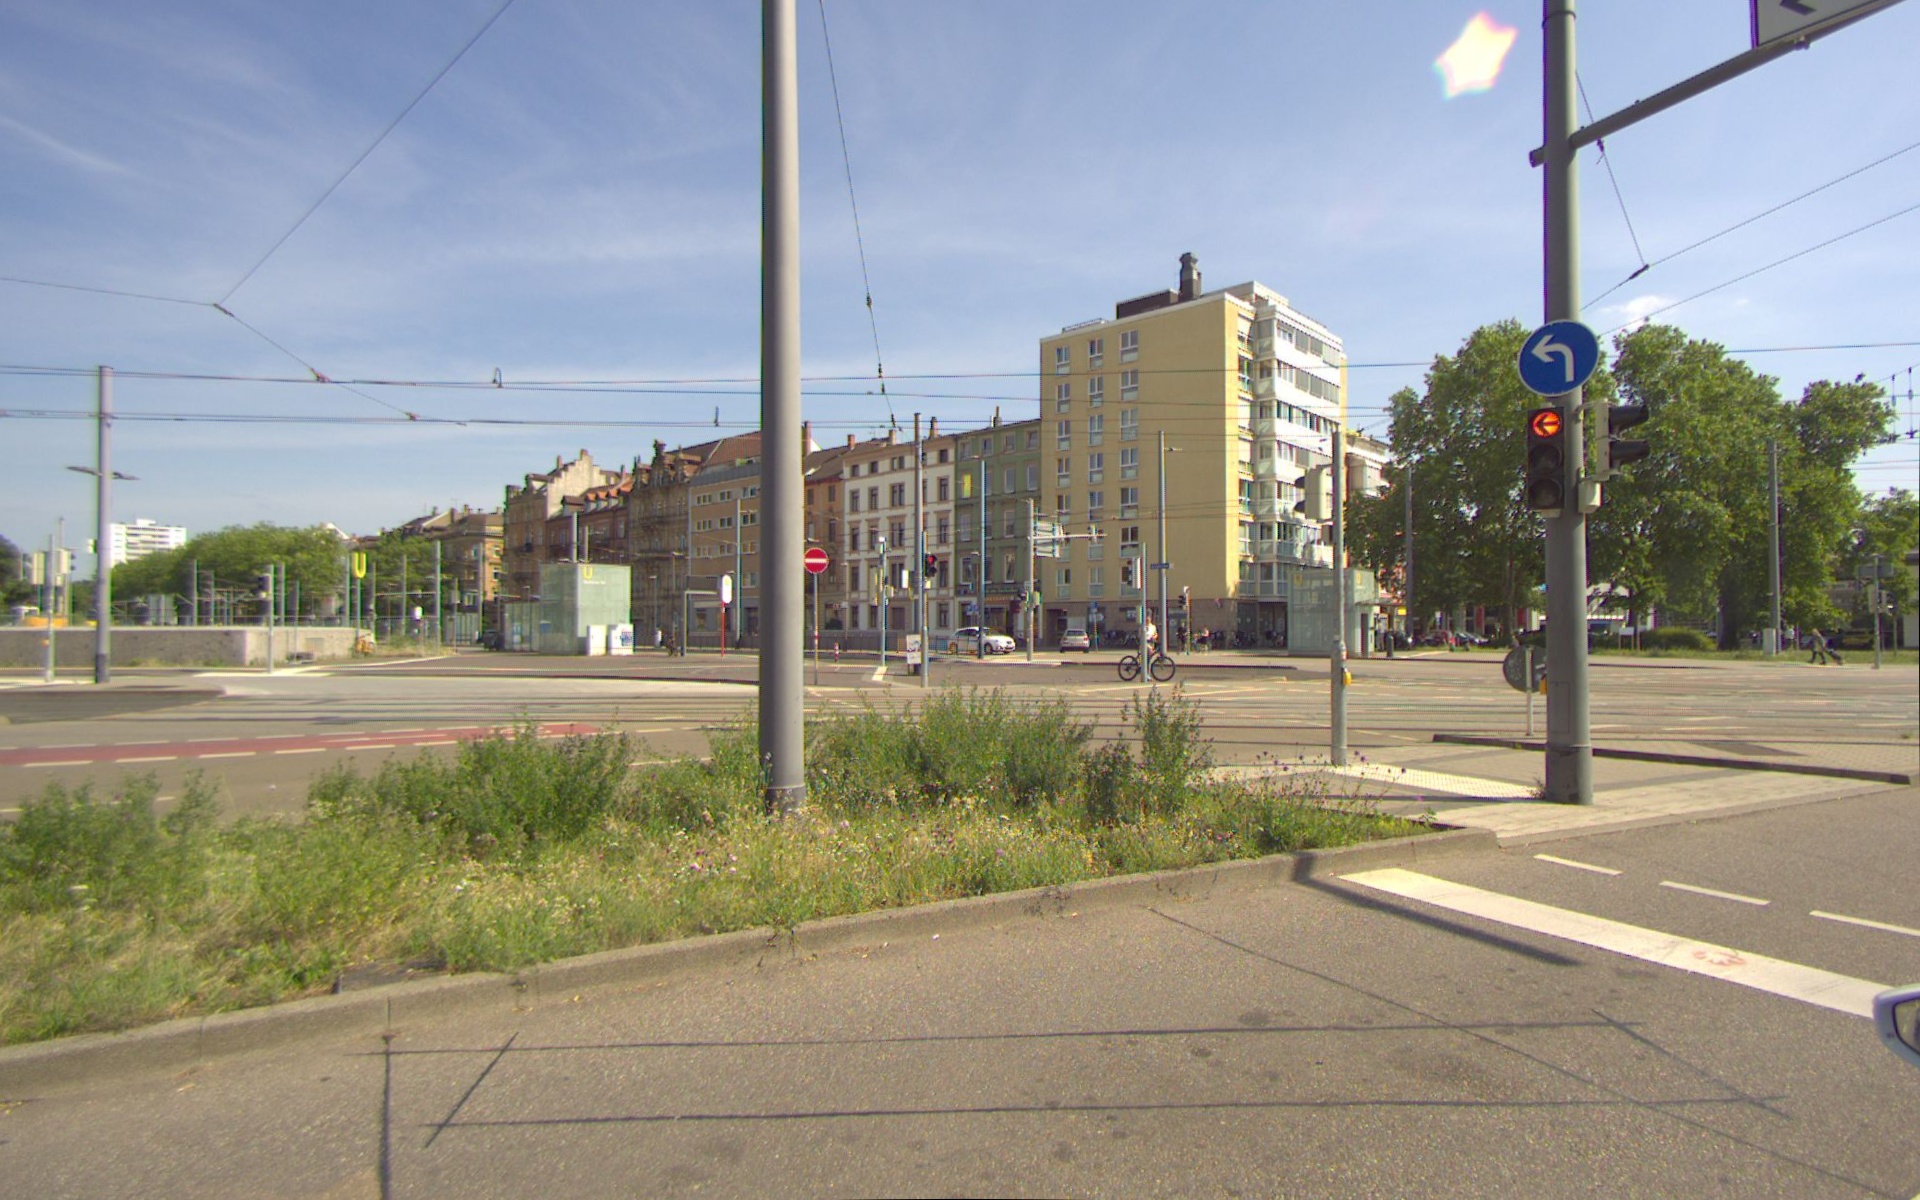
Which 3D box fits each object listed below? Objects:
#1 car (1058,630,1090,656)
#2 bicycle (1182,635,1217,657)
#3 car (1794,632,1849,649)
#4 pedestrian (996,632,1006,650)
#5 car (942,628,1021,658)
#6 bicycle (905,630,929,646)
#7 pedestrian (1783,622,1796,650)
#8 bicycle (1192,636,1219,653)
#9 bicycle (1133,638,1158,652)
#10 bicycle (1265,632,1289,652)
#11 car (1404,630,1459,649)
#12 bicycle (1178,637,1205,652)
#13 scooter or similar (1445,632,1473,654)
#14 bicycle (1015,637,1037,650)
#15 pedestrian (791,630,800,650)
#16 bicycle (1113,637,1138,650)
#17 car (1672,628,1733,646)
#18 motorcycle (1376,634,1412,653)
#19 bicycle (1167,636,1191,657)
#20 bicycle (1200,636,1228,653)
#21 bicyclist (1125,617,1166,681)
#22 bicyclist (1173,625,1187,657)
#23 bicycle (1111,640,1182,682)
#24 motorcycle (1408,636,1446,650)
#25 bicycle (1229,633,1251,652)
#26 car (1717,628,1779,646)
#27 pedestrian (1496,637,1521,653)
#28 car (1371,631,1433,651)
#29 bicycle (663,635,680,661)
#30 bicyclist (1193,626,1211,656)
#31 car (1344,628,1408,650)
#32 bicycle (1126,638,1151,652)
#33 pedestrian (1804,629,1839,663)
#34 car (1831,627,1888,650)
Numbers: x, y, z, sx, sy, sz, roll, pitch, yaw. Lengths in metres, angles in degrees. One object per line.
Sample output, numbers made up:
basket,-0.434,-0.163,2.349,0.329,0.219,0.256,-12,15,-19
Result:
car,7.006,2.670,62.074,1.777,1.458,4.004,1,-4,4
bicycle,12.905,2.456,54.095,1.775,1.145,0.749,1,-2,-30
car,70.170,3.281,81.821,3.946,1.261,1.988,2,0,-25
pedestrian,3.196,3.187,78.291,0.637,1.392,0.524,-1,-2,43
car,1.121,2.283,53.670,4.067,1.417,1.749,-1,1,43
bicycle,-3.039,2.676,71.244,0.589,1.109,1.738,0,-2,43
pedestrian,49.678,2.152,60.154,0.455,1.617,0.393,2,0,-6
bicycle,15.867,2.863,64.980,0.578,1.100,1.740,-3,0,-34
bicycle,12.735,3.074,68.941,0.579,0.928,1.737,0,-2,-39
bicycle,20.457,2.728,64.857,1.740,1.235,0.578,0,-2,-37
car,38.896,3.225,82.881,3.684,1.358,1.733,1,0,44
bicycle,15.303,2.949,66.347,0.579,0.978,1.736,0,-2,-41
scooter or similar,27.088,2.319,54.527,0.509,1.134,1.358,0,-1,-19
bicycle,4.989,3.304,76.305,1.755,0.977,0.412,-2,0,43
pedestrian,-13.689,3.326,83.700,0.518,1.687,0.551,-2,-2,43
bicycle,11.534,3.043,70.039,1.733,0.928,0.580,-2,-2,44
car,66.625,3.310,90.191,1.976,1.390,3.968,2,0,-30
motorcycle,24.783,2.460,57.381,0.631,1.076,2.028,1,-2,-22
bicycle,12.085,2.578,55.443,0.575,1.145,1.790,-2,-3,37
bicycle,16.494,2.871,65.205,0.579,1.056,1.737,0,-2,-40
bicyclist,5.043,1.331,27.264,0.745,1.706,0.768,2,-4,-40
bicyclist,12.107,2.265,55.276,0.575,1.757,0.615,-2,-3,37
bicycle,5.041,1.646,27.272,0.745,1.098,1.828,2,-4,-40
motorcycle,28.318,2.622,60.954,1.997,0.853,0.641,0,-1,4
bicycle,18.352,2.788,65.765,0.534,1.201,1.878,-1,-2,45
car,70.325,3.251,89.710,1.977,1.572,3.967,1,-2,-31
pedestrian,32.294,2.654,59.109,1.159,0.904,0.818,-1,-2,41
car,33.760,3.126,76.777,3.945,1.287,1.733,1,0,44
bicycle,-13.177,2.185,45.900,0.408,1.085,1.651,0,0,-28
bicyclist,13.035,2.217,54.175,0.605,1.593,0.728,1,-3,-29
car,30.510,2.839,73.673,3.945,1.459,1.879,1,0,44
bicycle,12.226,3.057,68.709,0.579,0.928,1.737,0,-2,-39
pedestrian,37.435,1.991,43.663,1.100,1.422,0.654,2,0,39
car,71.645,3.094,79.962,3.946,1.706,1.988,2,0,-25
